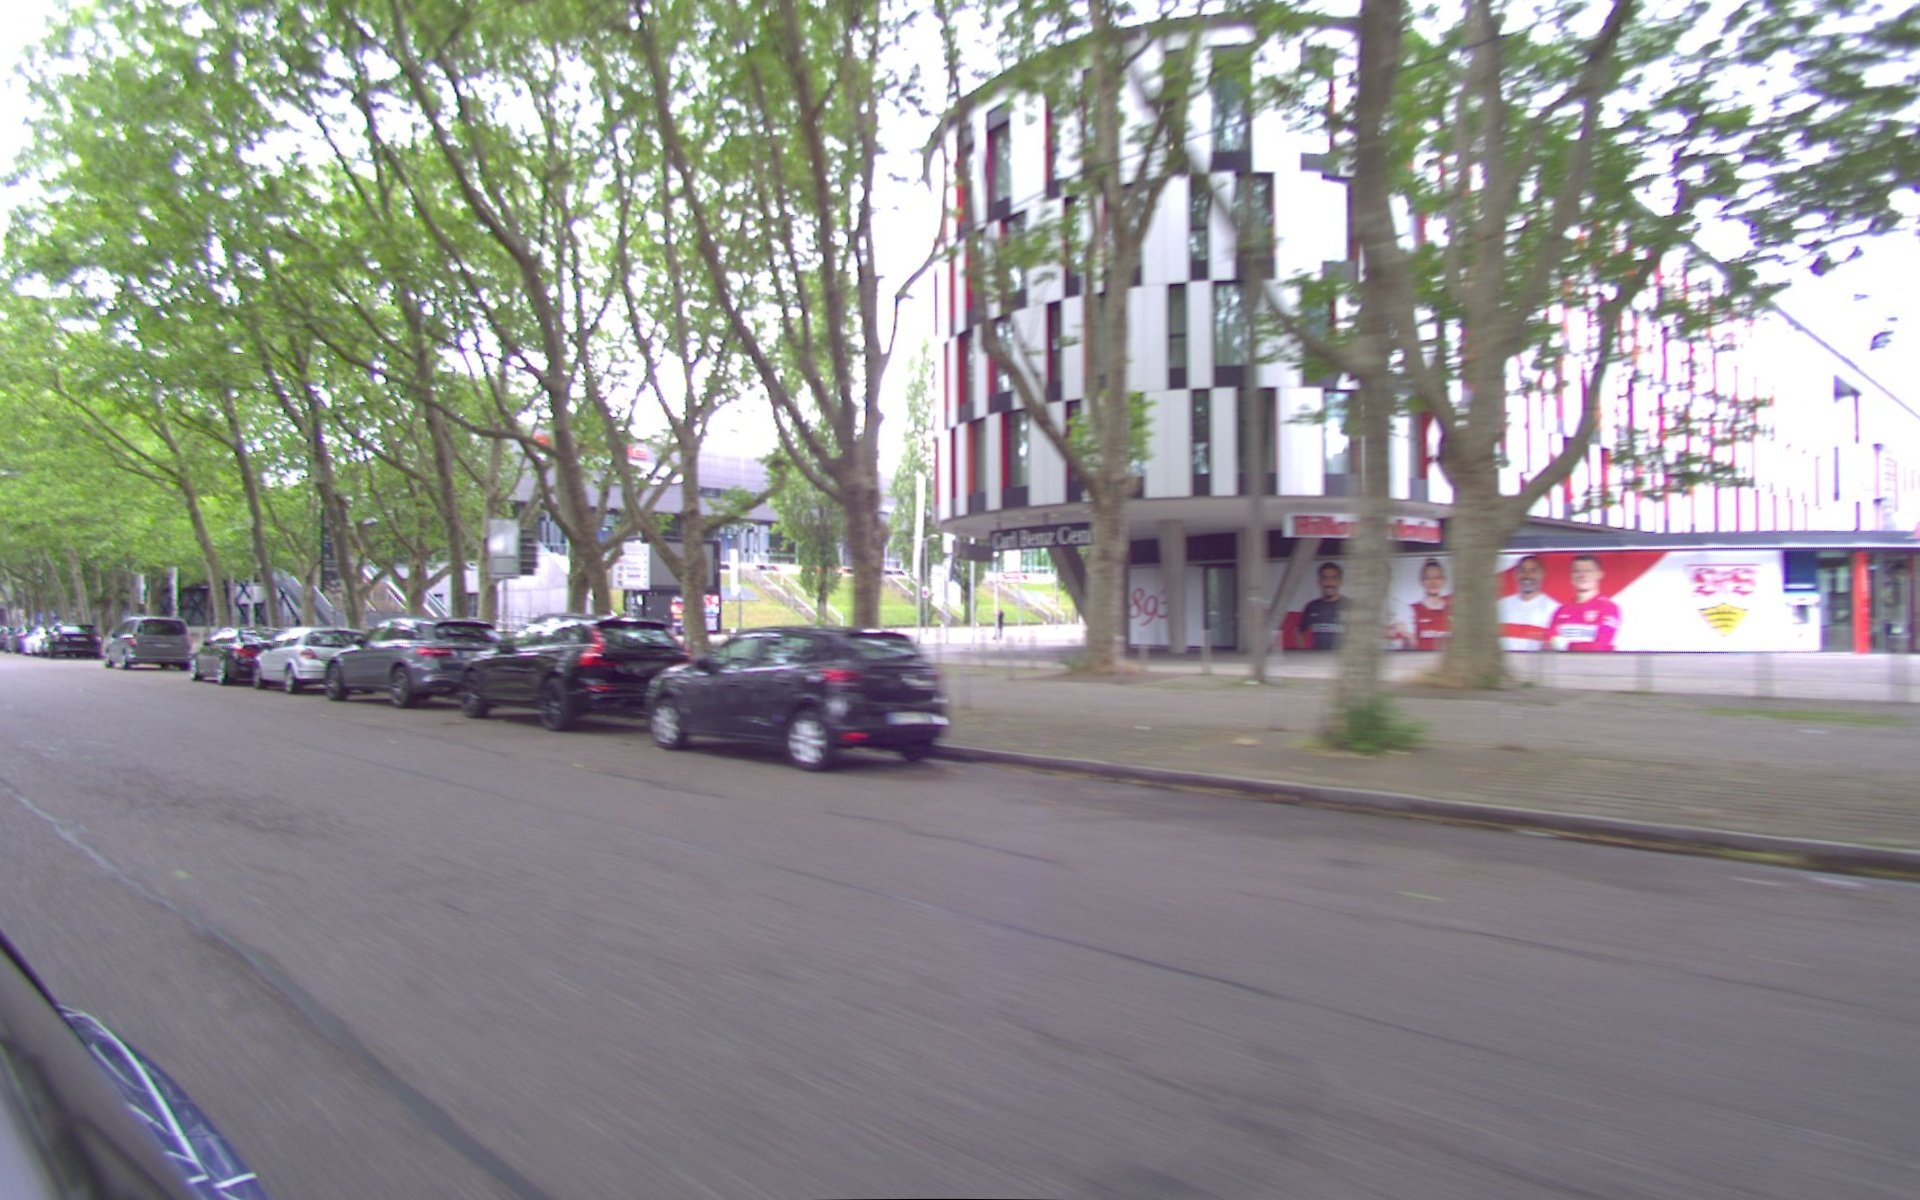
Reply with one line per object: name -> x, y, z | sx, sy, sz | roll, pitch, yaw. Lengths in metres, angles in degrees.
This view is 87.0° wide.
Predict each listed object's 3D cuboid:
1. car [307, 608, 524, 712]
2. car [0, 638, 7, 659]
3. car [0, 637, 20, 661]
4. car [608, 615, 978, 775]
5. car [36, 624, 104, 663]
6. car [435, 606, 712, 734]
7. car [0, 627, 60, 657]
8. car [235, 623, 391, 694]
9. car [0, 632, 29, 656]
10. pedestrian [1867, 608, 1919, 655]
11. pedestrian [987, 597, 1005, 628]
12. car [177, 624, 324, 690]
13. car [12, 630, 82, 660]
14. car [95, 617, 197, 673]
car -> -10.358, 1.104, 19.133 | 4.642, 1.731, 1.851 | -2, -4, 38
car -> -63.846, 3.132, 66.329 | 4.000, 1.373, 1.675 | -2, -6, 43
car -> -60.388, 3.048, 63.191 | 3.643, 1.489, 1.679 | -1, -5, 36
car -> -2.072, 1.005, 11.732 | 4.440, 1.506, 1.814 | -2, -5, 42
car -> -39.519, 1.920, 44.919 | 4.344, 1.606, 1.797 | -2, -4, 43
car -> -6.040, 1.027, 15.492 | 4.927, 1.656, 1.916 | -2, -5, 42
car -> -48.770, 2.191, 52.832 | 4.987, 1.496, 1.802 | -2, -3, 38
car -> -14.643, 1.304, 22.832 | 4.228, 1.467, 1.814 | -2, -5, 41
car -> -56.738, 2.598, 59.996 | 4.328, 1.392, 1.690 | -2, -5, 41
pedestrian -> 29.829, 0.997, 32.362 | 1.109, 1.473, 1.034 | -2, -1, 38
pedestrian -> 1.989, 0.712, 56.016 | 0.693, 1.703, 0.636 | -2, -2, 43
car -> -18.480, 1.440, 26.265 | 5.144, 1.542, 2.061 | -2, -3, 42
car -> -43.826, 2.175, 48.558 | 5.001, 1.373, 1.797 | -2, -4, 40
car -> -28.420, 1.557, 35.297 | 4.609, 1.809, 1.876 | -1, -4, 41
